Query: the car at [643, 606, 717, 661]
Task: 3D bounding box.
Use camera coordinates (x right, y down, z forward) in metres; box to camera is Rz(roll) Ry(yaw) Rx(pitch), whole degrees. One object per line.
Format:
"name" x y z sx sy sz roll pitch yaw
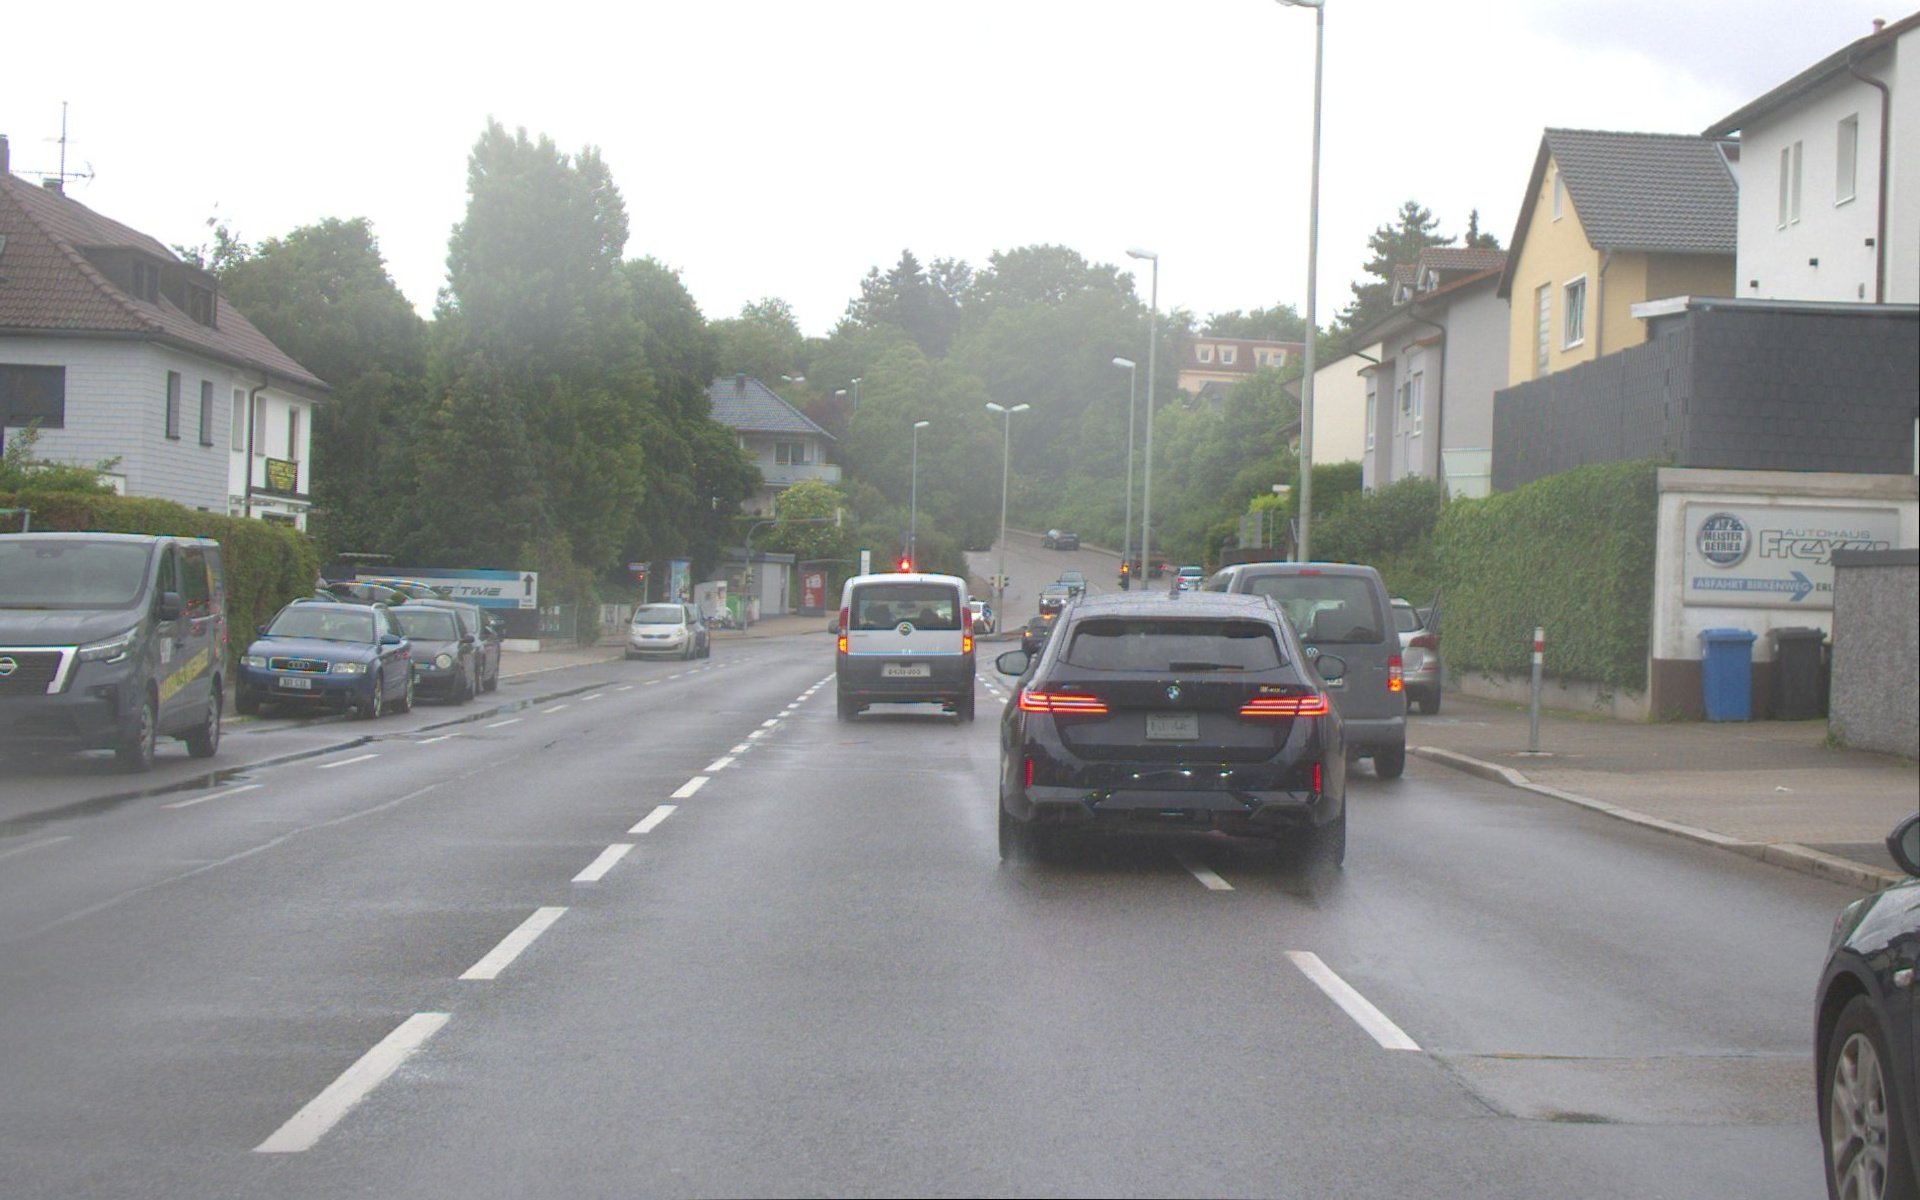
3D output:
"car" -8.420 0.993 103.617 1.884 1.579 4.000 1 0 0

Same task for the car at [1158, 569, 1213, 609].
"car" 13.638 -0.674 208.280 2.521 2.006 5.610 2 3 -4

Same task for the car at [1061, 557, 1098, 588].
"car" 7.134 -1.640 204.954 1.993 1.766 4.000 -1 1 0

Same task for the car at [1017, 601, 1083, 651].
"car" 2.992 0.846 115.229 1.993 1.573 4.000 0 1 -1

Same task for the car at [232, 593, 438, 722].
"car" -7.948 0.716 44.081 1.757 1.527 4.286 1 0 1

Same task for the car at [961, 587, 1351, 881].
"car" 1.044 0.707 19.842 1.993 1.479 4.000 1 0 1

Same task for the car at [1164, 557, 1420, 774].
"car" 2.866 0.553 30.431 1.838 1.761 4.000 1 0 0

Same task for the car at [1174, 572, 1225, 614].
"car" 13.242 -0.408 190.350 2.522 2.006 5.608 2 3 1

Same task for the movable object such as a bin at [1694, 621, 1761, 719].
"movable object such as a bin" 8.829 0.798 39.563 0.595 1.101 0.667 -2 0 -1

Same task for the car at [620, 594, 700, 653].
"car" -8.434 0.662 96.896 1.884 1.579 4.000 1 0 0

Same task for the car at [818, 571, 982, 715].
"car" -0.740 0.544 44.559 1.993 1.732 4.000 1 0 0

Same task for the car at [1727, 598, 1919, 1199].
"car" 2.760 0.745 6.048 1.756 1.444 4.000 1 0 -2

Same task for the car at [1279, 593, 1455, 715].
"car" 5.333 0.690 45.555 1.700 1.505 4.534 1 0 -1

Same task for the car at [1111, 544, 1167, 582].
"car" 11.696 -2.438 225.147 2.521 2.006 5.611 2 5 -8

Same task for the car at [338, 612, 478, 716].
"car" -8.015 0.911 50.199 1.551 1.426 4.015 1 0 -3

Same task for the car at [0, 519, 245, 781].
"car" -7.423 0.387 28.958 1.912 1.996 5.088 1 0 -3

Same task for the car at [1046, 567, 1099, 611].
"car" 5.954 -0.591 181.976 2.521 2.006 5.609 2 3 -1
